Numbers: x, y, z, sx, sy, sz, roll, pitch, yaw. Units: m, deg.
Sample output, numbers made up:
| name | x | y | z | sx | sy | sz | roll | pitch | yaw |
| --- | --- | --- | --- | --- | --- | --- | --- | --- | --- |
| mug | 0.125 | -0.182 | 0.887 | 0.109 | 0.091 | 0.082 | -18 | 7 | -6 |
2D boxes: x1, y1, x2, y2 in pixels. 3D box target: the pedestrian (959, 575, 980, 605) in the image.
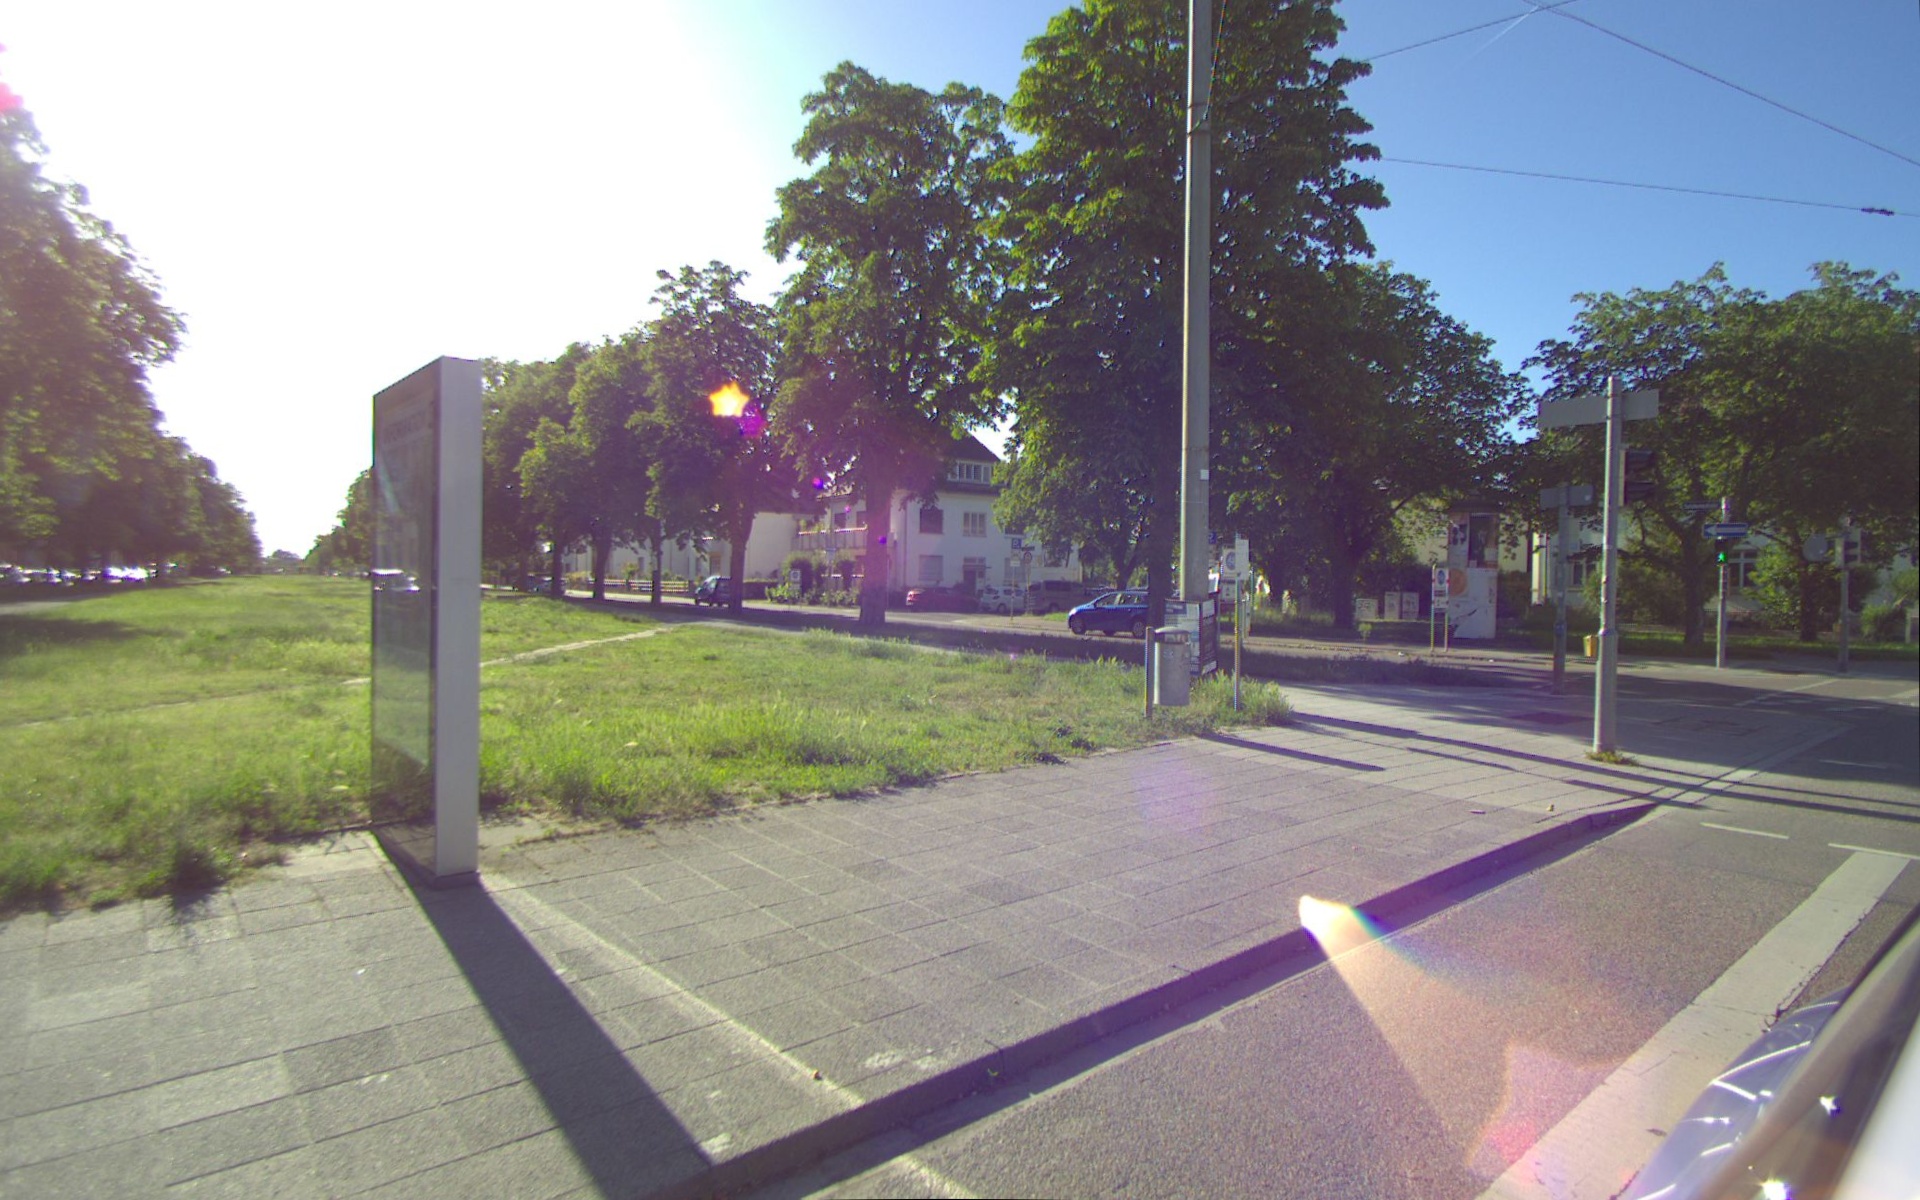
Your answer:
| name | x | y | z | sx | sy | sz | roll | pitch | yaw |
| --- | --- | --- | --- | --- | --- | --- | --- | --- | --- |
| pedestrian | 0.568 | -0.603 | 60.465 | 0.882 | 1.792 | 1.026 | 1 | -1 | -30 |

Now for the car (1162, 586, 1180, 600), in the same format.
| name | x | y | z | sx | sy | sz | roll | pitch | yaw |
| --- | --- | --- | --- | --- | --- | --- | --- | --- | --- |
| car | 23.135 | -0.822 | 111.051 | 1.730 | 1.489 | 3.887 | 1 | 1 | 9 |

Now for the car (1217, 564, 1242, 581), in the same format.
| name | x | y | z | sx | sy | sz | roll | pitch | yaw |
| --- | --- | --- | --- | --- | --- | --- | --- | --- | --- |
| car | 24.526 | -2.457 | 92.079 | 1.730 | 1.489 | 3.888 | 1 | 1 | 8 |

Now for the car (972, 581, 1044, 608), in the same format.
| name | x | y | z | sx | sy | sz | roll | pitch | yaw |
| --- | --- | --- | --- | --- | --- | --- | --- | --- | --- |
| car | 2.769 | -0.325 | 58.149 | 3.822 | 1.489 | 1.759 | 1 | 1 | -36 |

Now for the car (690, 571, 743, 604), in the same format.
| name | x | y | z | sx | sy | sz | roll | pitch | yaw |
| --- | --- | --- | --- | --- | --- | --- | --- | --- | --- |
| car | -14.859 | -0.743 | 61.548 | 1.782 | 1.848 | 4.000 | -2 | 0 | -35 |

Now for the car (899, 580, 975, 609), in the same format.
| name | x | y | z | sx | sy | sz | roll | pitch | yaw |
| --- | --- | --- | --- | --- | --- | --- | --- | --- | --- |
| car | -1.246 | -0.304 | 55.049 | 3.822 | 1.489 | 1.759 | 1 | 1 | -36 |

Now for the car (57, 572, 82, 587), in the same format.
| name | x | y | z | sx | sy | sz | roll | pitch | yaw |
| --- | --- | --- | --- | --- | --- | --- | --- | --- | --- |
| car | -102.474 | -2.311 | 116.514 | 1.701 | 1.624 | 3.705 | 1 | -1 | -34 |

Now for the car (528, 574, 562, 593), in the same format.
| name | x | y | z | sx | sy | sz | roll | pitch | yaw |
| --- | --- | --- | --- | --- | --- | --- | --- | --- | --- |
| car | -34.294 | -1.388 | 83.568 | 1.791 | 1.451 | 4.001 | 0 | 1 | -35 |

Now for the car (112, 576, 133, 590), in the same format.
| name | x | y | z | sx | sy | sz | roll | pitch | yaw |
| --- | --- | --- | --- | --- | --- | --- | --- | --- | --- |
| car | -98.245 | -2.038 | 118.787 | 1.619 | 1.538 | 3.403 | 1 | -1 | -35 |

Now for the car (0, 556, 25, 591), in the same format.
| name | x | y | z | sx | sy | sz | roll | pitch | yaw |
| --- | --- | --- | --- | --- | --- | --- | --- | --- | --- |
| car | -59.991 | -1.607 | 62.968 | 1.891 | 2.057 | 4.662 | 1 | -1 | -34 |

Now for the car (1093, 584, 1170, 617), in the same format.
| name | x | y | z | sx | sy | sz | roll | pitch | yaw |
| --- | --- | --- | --- | --- | --- | --- | --- | --- | --- |
| car | 9.226 | 0.022 | 54.450 | 3.637 | 1.668 | 1.926 | 1 | 1 | -28 |

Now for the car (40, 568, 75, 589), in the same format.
| name | x | y | z | sx | sy | sz | roll | pitch | yaw |
| --- | --- | --- | --- | --- | --- | --- | --- | --- | --- |
| car | -69.455 | -1.648 | 77.919 | 1.619 | 1.538 | 3.403 | 1 | -1 | -35 |

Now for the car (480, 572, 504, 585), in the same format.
| name | x | y | z | sx | sy | sz | roll | pitch | yaw |
| --- | --- | --- | --- | --- | --- | --- | --- | --- | --- |
| car | -52.580 | -2.420 | 113.783 | 1.791 | 1.451 | 4.001 | 0 | 1 | -35 |

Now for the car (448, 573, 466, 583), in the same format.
| name | x | y | z | sx | sy | sz | roll | pitch | yaw |
| --- | --- | --- | --- | --- | --- | --- | --- | --- | --- |
| car | -74.885 | -3.319 | 150.650 | 1.791 | 1.451 | 4.001 | 0 | 1 | -35 |

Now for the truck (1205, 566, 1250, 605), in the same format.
| name | x | y | z | sx | sy | sz | roll | pitch | yaw |
| --- | --- | --- | --- | --- | --- | --- | --- | --- | --- |
| truck | 18.550 | -1.021 | 70.411 | 1.964 | 2.608 | 4.977 | 1 | 1 | 3 |

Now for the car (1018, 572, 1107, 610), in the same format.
| name | x | y | z | sx | sy | sz | roll | pitch | yaw |
| --- | --- | --- | --- | --- | --- | --- | --- | --- | --- |
| car | 5.272 | -0.445 | 51.694 | 4.257 | 1.859 | 1.924 | 1 | 1 | -33 |

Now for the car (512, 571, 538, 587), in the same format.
| name | x | y | z | sx | sy | sz | roll | pitch | yaw |
| --- | --- | --- | --- | --- | --- | --- | --- | --- | --- |
| car | -47.441 | -2.287 | 110.375 | 1.790 | 1.624 | 4.001 | 1 | 1 | -35 |

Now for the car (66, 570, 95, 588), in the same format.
| name | x | y | z | sx | sy | sz | roll | pitch | yaw |
| --- | --- | --- | --- | --- | --- | --- | --- | --- | --- |
| car | -80.495 | -1.893 | 92.634 | 1.619 | 1.538 | 3.403 | 1 | -1 | -35 |

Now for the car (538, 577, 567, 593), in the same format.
| name | x | y | z | sx | sy | sz | roll | pitch | yaw |
| --- | --- | --- | --- | --- | --- | --- | --- | --- | --- |
| car | -39.605 | -1.449 | 98.377 | 1.791 | 1.451 | 4.001 | 0 | 1 | -35 |

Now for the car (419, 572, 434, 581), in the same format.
| name | x | y | z | sx | sy | sz | roll | pitch | yaw |
| --- | --- | --- | --- | --- | --- | --- | --- | --- | --- |
| car | -93.640 | -4.090 | 177.559 | 1.791 | 1.451 | 4.001 | 0 | 1 | -35 |

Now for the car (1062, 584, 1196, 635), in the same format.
| name | x | y | z | sx | sy | sz | roll | pitch | yaw |
| --- | --- | --- | --- | --- | --- | --- | --- | --- | --- |
| car | 5.271 | 0.255 | 31.934 | 1.784 | 1.451 | 3.996 | 0 | 2 | -39 |

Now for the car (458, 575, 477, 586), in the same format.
| name | x | y | z | sx | sy | sz | roll | pitch | yaw |
| --- | --- | --- | --- | --- | --- | --- | --- | --- | --- |
| car | -68.392 | -2.685 | 140.606 | 1.791 | 1.451 | 4.001 | 0 | 1 | -35 |

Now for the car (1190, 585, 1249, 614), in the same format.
| name | x | y | z | sx | sy | sz | roll | pitch | yaw |
| --- | --- | --- | --- | --- | --- | --- | --- | --- | --- |
| car | 15.027 | 0.000 | 58.528 | 1.601 | 1.554 | 4.218 | 2 | 0 | 41 |
